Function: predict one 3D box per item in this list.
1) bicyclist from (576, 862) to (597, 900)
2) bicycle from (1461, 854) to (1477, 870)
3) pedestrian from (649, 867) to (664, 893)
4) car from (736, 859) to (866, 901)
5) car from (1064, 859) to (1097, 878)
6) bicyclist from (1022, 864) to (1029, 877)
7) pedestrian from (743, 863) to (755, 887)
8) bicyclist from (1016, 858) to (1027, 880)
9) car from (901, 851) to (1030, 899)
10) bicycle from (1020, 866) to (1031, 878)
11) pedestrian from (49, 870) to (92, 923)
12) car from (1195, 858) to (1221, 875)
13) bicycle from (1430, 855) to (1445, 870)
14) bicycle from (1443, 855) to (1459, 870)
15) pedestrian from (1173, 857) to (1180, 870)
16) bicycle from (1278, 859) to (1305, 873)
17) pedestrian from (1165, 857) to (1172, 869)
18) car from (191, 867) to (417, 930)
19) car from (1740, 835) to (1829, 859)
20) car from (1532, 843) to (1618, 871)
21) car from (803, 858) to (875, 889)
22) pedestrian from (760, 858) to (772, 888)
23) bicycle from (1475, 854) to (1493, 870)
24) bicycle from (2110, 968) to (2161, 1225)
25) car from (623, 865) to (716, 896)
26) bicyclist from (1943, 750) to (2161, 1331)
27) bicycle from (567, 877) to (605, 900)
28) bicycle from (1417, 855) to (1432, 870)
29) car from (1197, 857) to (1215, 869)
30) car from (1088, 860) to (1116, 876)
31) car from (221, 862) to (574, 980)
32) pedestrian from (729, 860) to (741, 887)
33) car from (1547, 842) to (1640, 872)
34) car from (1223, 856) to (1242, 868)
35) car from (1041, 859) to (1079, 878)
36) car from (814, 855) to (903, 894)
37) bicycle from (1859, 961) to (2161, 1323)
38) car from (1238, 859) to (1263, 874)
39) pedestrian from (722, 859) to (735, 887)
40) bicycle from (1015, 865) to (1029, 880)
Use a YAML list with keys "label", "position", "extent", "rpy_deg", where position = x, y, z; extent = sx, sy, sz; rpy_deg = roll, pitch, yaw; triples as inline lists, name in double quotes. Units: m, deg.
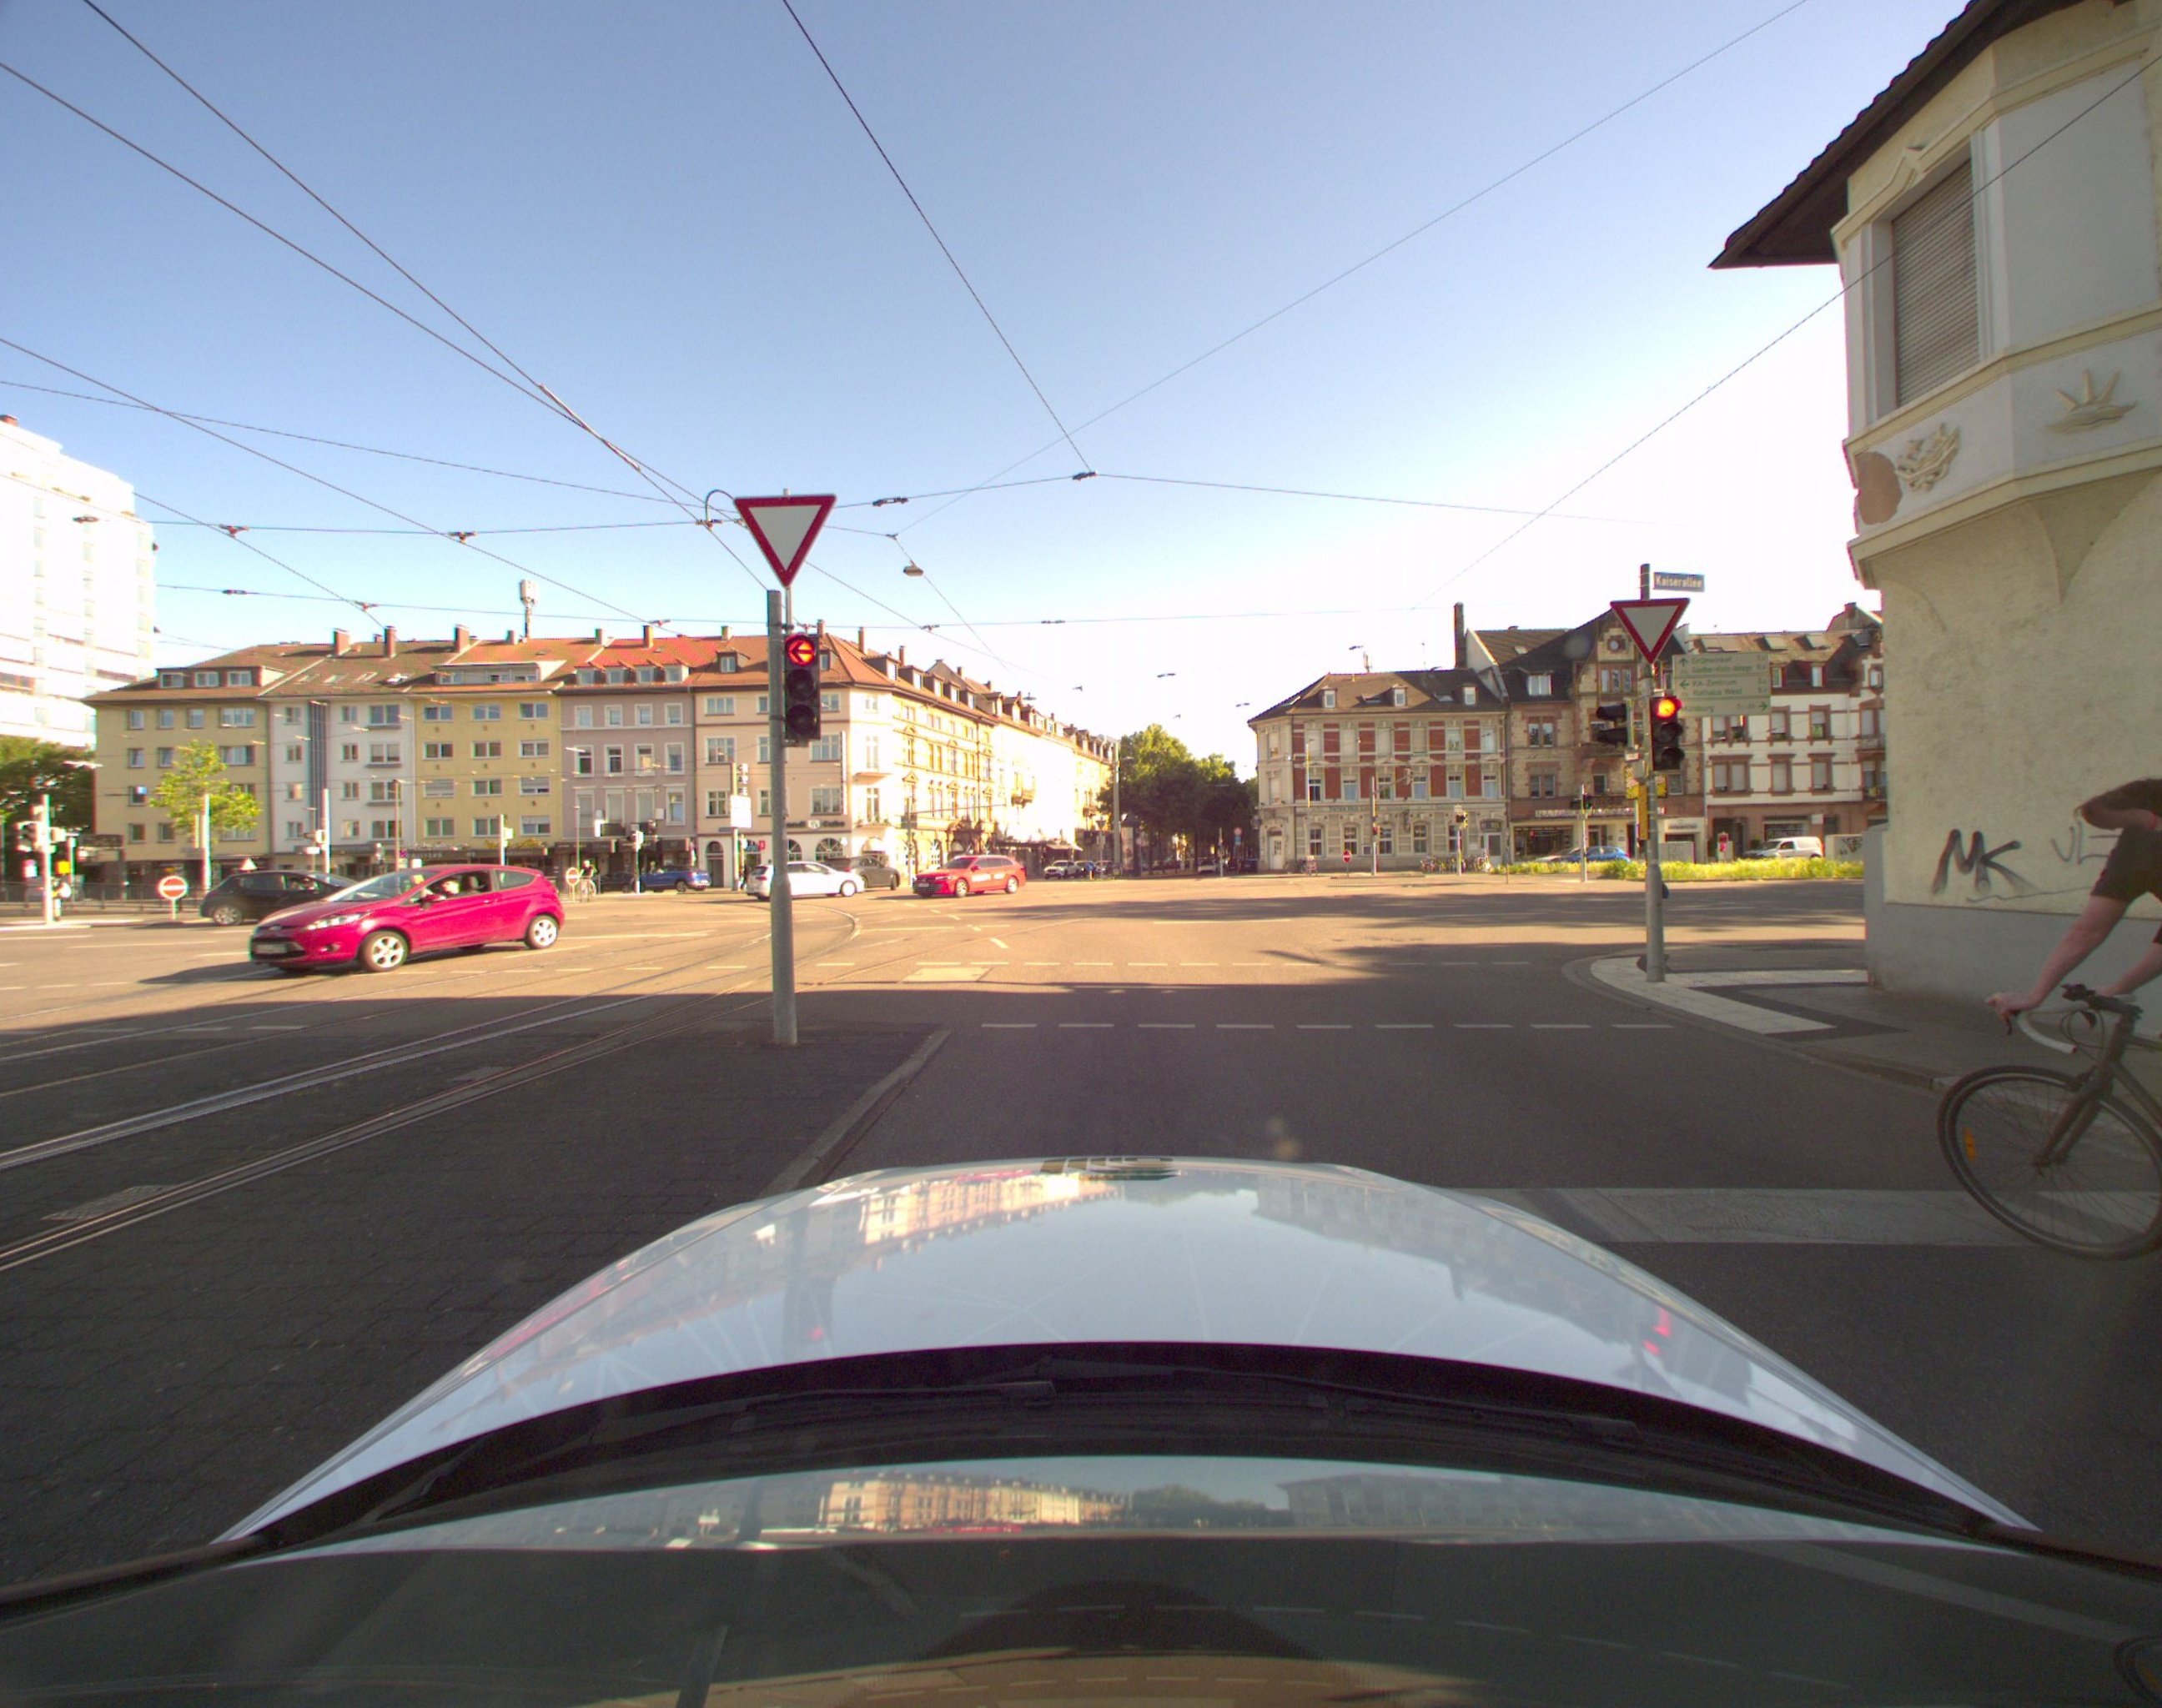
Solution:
- label: "bicyclist"
  position: [-23.547, 1.260, 38.802]
  extent: [0.618, 1.790, 0.616]
  rpy_deg: [0, -1, 7]
- label: "bicycle"
  position: [25.193, 0.540, 52.893]
  extent: [0.758, 1.007, 2.231]
  rpy_deg: [-1, -1, 20]
- label: "pedestrian"
  position: [-27.017, 1.666, 51.860]
  extent: [0.582, 1.648, 0.616]
  rpy_deg: [0, -1, 1]
- label: "car"
  position: [-10.449, 0.937, 30.559]
  extent: [4.249, 1.389, 1.715]
  rpy_deg: [-2, 0, -39]
- label: "car"
  position: [-0.019, 1.285, 73.688]
  extent: [1.809, 1.685, 3.893]
  rpy_deg: [-1, -1, 18]
- label: "bicyclist"
  position: [-4.628, 1.359, 67.833]
  extent: [0.469, 1.040, 0.540]
  rpy_deg: [-1, -1, 17]
- label: "pedestrian"
  position: [-20.260, 1.269, 49.670]
  extent: [0.489, 1.492, 0.556]
  rpy_deg: [0, -1, 1]
- label: "bicyclist"
  position: [-4.768, 1.203, 65.582]
  extent: [0.561, 1.804, 0.918]
  rpy_deg: [-1, -1, 17]
- label: "car"
  position: [-4.075, 0.694, 29.625]
  extent: [1.780, 1.469, 4.906]
  rpy_deg: [0, 1, 35]
- label: "bicycle"
  position: [-4.627, 1.502, 67.821]
  extent: [0.469, 0.922, 1.458]
  rpy_deg: [-1, -1, 17]
- label: "pedestrian"
  position: [-31.637, 1.309, 25.506]
  extent: [0.770, 1.609, 0.605]
  rpy_deg: [0, -1, -44]
- label: "car"
  position: [12.509, 1.188, 79.848]
  extent: [1.877, 1.454, 4.027]
  rpy_deg: [-2, 1, 17]
- label: "bicycle"
  position: [23.257, 0.568, 53.093]
  extent: [0.758, 0.968, 2.221]
  rpy_deg: [-1, -1, 20]
- label: "bicycle"
  position: [24.044, 0.561, 52.969]
  extent: [0.758, 0.983, 2.221]
  rpy_deg: [-1, -1, 20]
- label: "pedestrian"
  position: [14.993, 1.446, 127.484]
  extent: [0.745, 2.014, 1.005]
  rpy_deg: [-1, -1, 24]
- label: "bicycle"
  position: [14.706, 0.826, 56.920]
  extent: [1.789, 0.963, 0.606]
  rpy_deg: [-1, -1, 16]
- label: "pedestrian"
  position: [12.579, 1.262, 116.998]
  extent: [0.714, 1.790, 0.690]
  rpy_deg: [0, -1, -34]
- label: "car"
  position: [-22.233, 1.217, 23.527]
  extent: [4.205, 1.517, 1.989]
  rpy_deg: [-2, 0, -17]
- label: "car"
  position: [45.233, -0.442, 52.432]
  extent: [3.961, 1.438, 1.874]
  rpy_deg: [0, -1, 5]
- label: "car"
  position: [29.176, 0.196, 48.212]
  extent: [3.970, 1.622, 1.806]
  rpy_deg: [0, -1, 3]
- label: "car"
  position: [-12.954, 1.015, 43.513]
  extent: [3.869, 1.503, 1.802]
  rpy_deg: [0, 1, 40]
- label: "pedestrian"
  position: [-19.378, 1.160, 50.058]
  extent: [0.526, 1.823, 0.675]
  rpy_deg: [0, -1, -6]
- label: "bicycle"
  position: [26.044, 0.531, 52.671]
  extent: [0.785, 1.016, 2.221]
  rpy_deg: [-1, -1, 20]
- label: "bicycle"
  position: [4.455, 0.952, 2.447]
  extent: [0.501, 0.983, 1.783]
  rpy_deg: [0, -1, 2]
- label: "car"
  position: [-22.518, 1.426, 44.625]
  extent: [4.162, 1.575, 1.835]
  rpy_deg: [-1, 0, 8]
- label: "bicyclist"
  position: [3.581, 0.568, 2.630]
  extent: [0.587, 1.767, 0.936]
  rpy_deg: [0, -1, 2]
- label: "bicycle"
  position: [-23.546, 1.653, 38.775]
  extent: [0.618, 1.030, 1.758]
  rpy_deg: [0, -1, 7]
- label: "bicycle"
  position: [22.502, 0.575, 53.360]
  extent: [0.758, 0.963, 2.221]
  rpy_deg: [-1, -1, 20]
- label: "car"
  position: [17.917, 1.346, 116.492]
  extent: [1.978, 1.684, 4.018]
  rpy_deg: [-1, -1, 17]
- label: "car"
  position: [2.086, 1.353, 79.621]
  extent: [1.788, 1.575, 3.908]
  rpy_deg: [-1, -1, 17]
- label: "car"
  position: [-10.049, 0.882, 12.416]
  extent: [1.579, 1.426, 3.897]
  rpy_deg: [-1, 0, 14]
- label: "pedestrian"
  position: [-21.250, 1.202, 50.056]
  extent: [0.520, 1.648, 0.498]
  rpy_deg: [0, -1, 1]
- label: "car"
  position: [28.326, 0.177, 45.117]
  extent: [3.970, 1.622, 1.806]
  rpy_deg: [0, -1, 3]
- label: "car"
  position: [17.782, 0.921, 95.352]
  extent: [1.812, 1.403, 4.016]
  rpy_deg: [-1, 0, 15]
- label: "car"
  position: [-1.683, 1.175, 67.479]
  extent: [1.788, 1.585, 4.179]
  rpy_deg: [-1, -1, 19]
- label: "car"
  position: [-10.013, 0.873, 37.048]
  extent: [1.854, 1.602, 4.471]
  rpy_deg: [-2, 0, 14]
- label: "bicycle"
  position: [3.585, 0.954, 2.626]
  extent: [0.480, 0.991, 1.783]
  rpy_deg: [0, -1, 2]
- label: "car"
  position: [17.080, 1.250, 82.080]
  extent: [1.741, 1.556, 4.021]
  rpy_deg: [-1, -1, 22]
- label: "pedestrian"
  position: [-20.696, 1.113, 47.792]
  extent: [0.520, 1.648, 0.498]
  rpy_deg: [0, -1, 1]
- label: "bicycle"
  position: [-4.759, 1.485, 65.571]
  extent: [0.561, 1.254, 1.564]
  rpy_deg: [-1, -1, 17]
